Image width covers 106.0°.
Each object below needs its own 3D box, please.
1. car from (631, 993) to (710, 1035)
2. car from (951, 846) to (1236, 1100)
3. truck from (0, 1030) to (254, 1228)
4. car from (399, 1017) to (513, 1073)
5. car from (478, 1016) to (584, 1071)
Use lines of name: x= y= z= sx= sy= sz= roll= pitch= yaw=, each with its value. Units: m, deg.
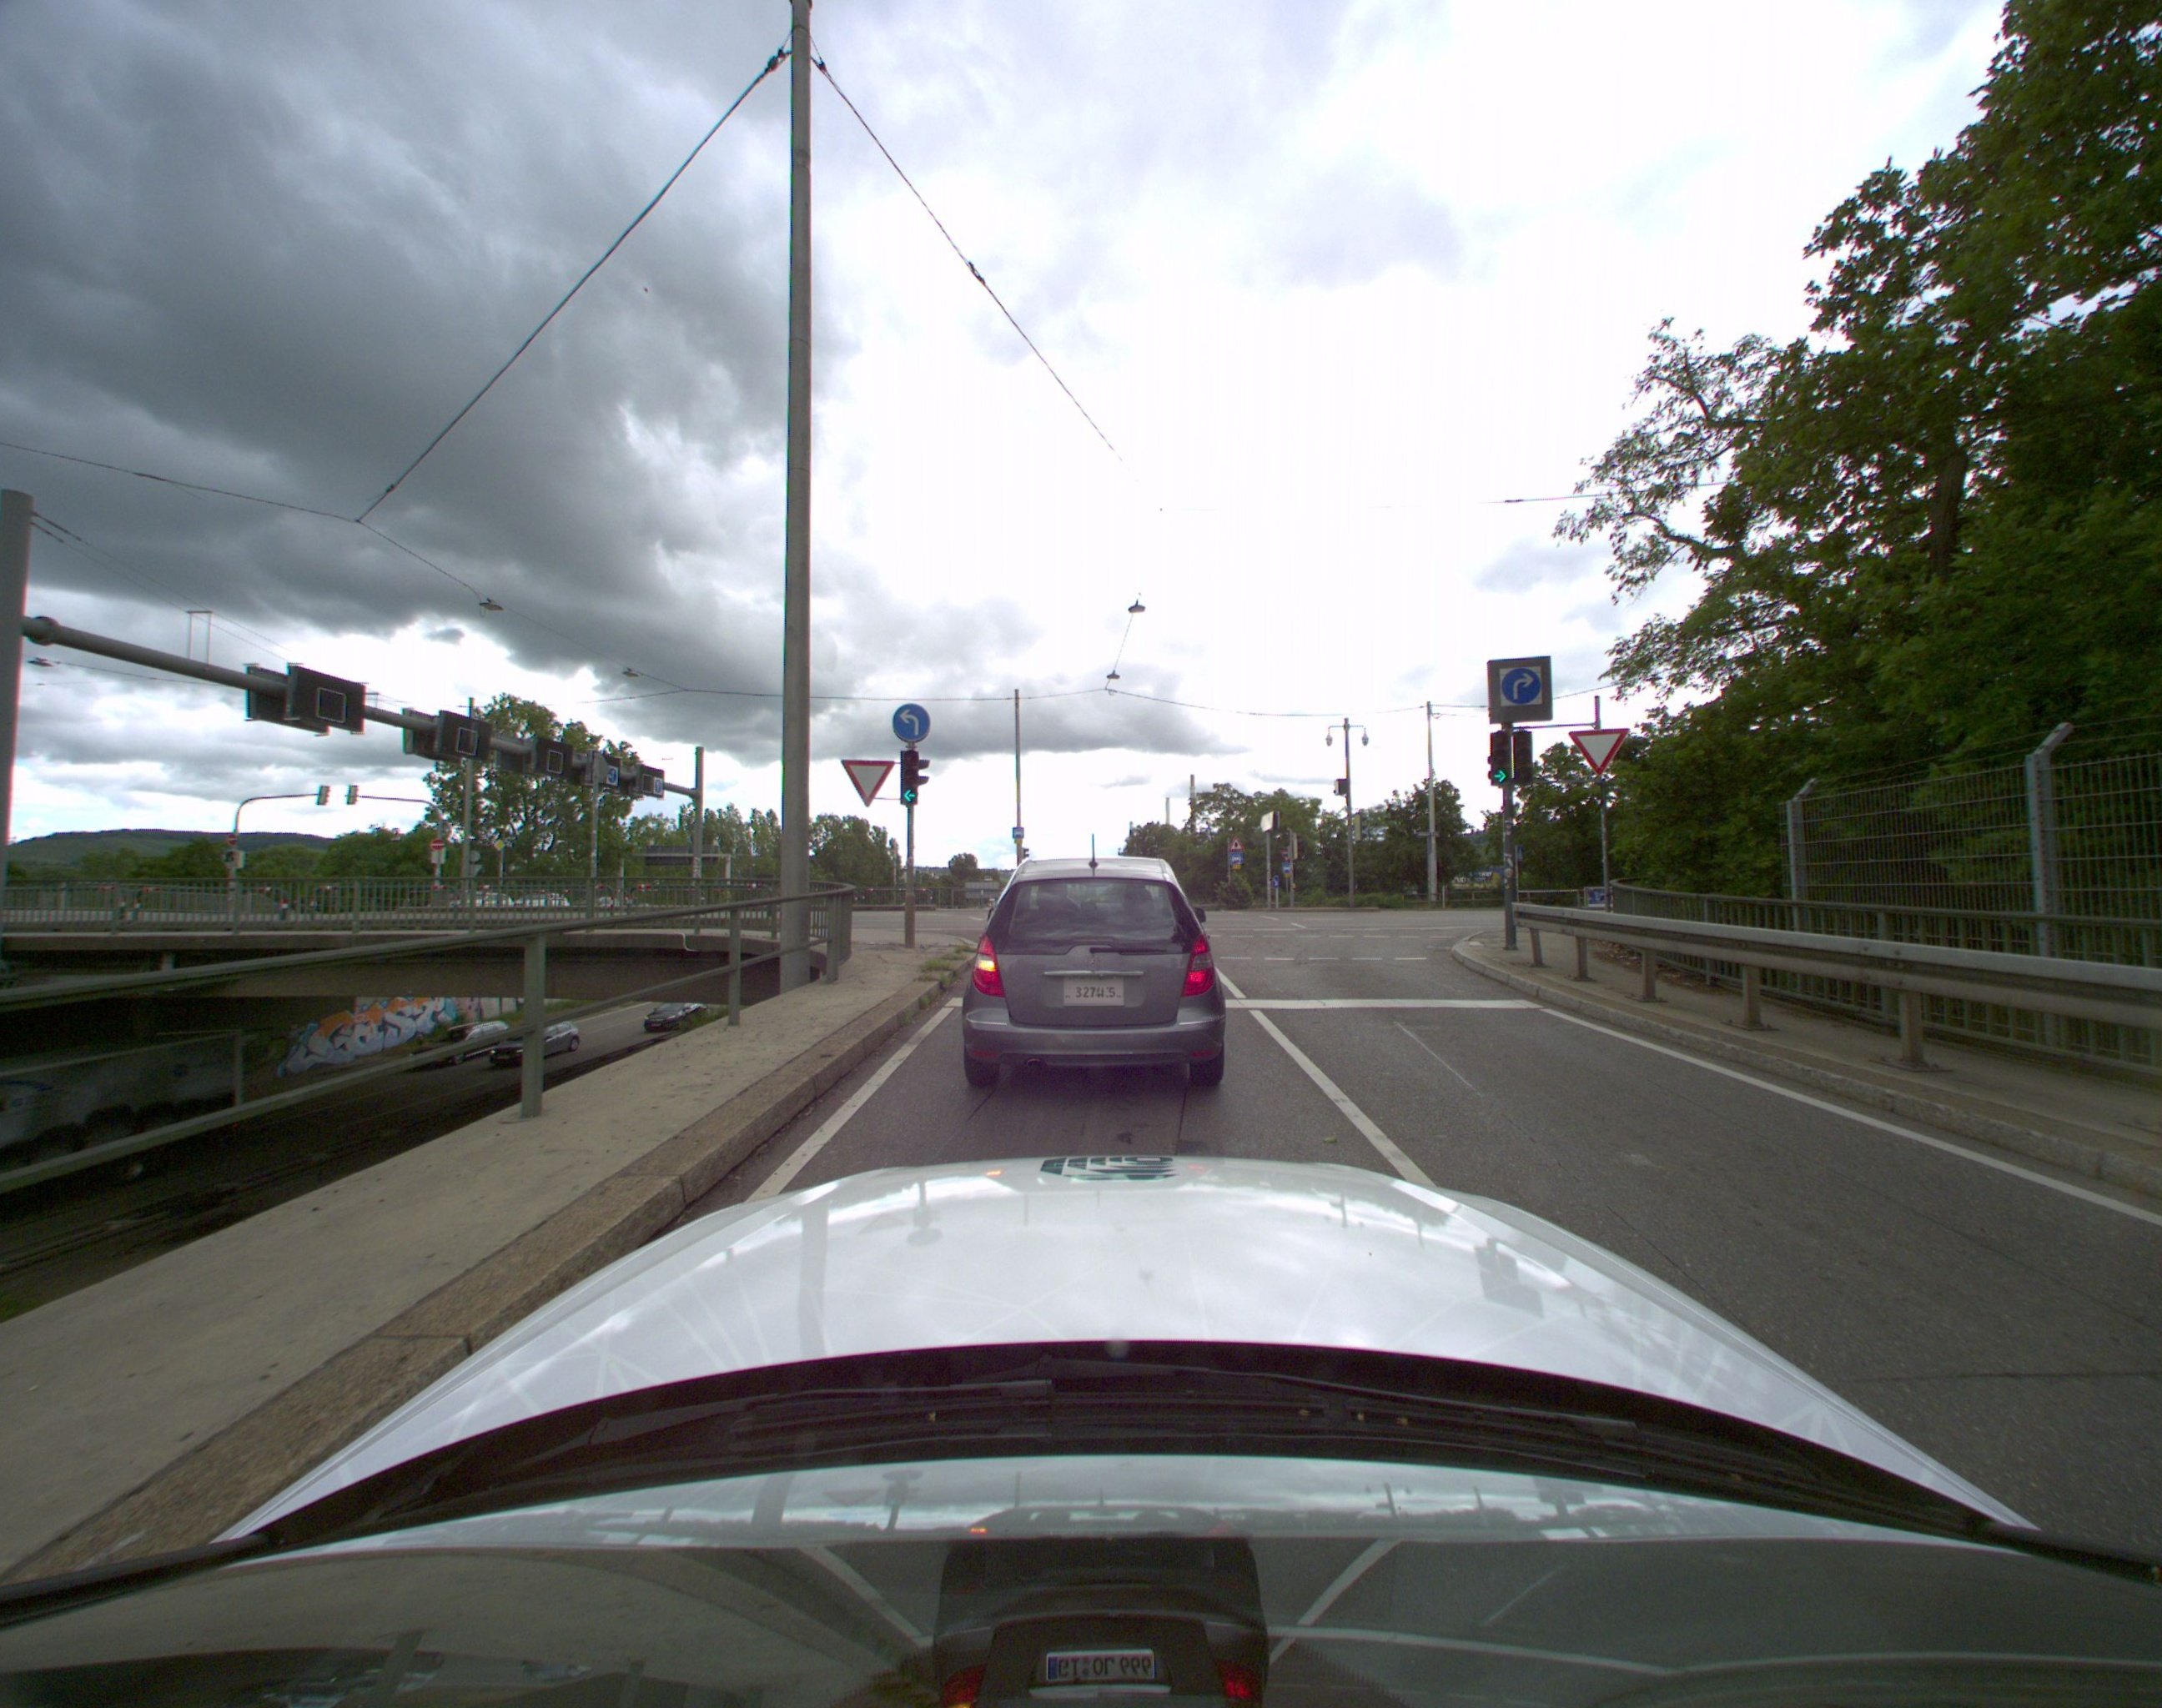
car: x=-22.521 y=8.774 z=44.857 sx=1.832 sy=1.493 sz=4.572 roll=-4 pitch=-3 yaw=2
car: x=0.135 y=0.746 z=6.752 sx=1.733 sy=1.543 sz=3.542 roll=0 pitch=-1 yaw=2
truck: x=-25.279 y=6.697 z=19.530 sx=2.505 sy=3.462 sz=8.127 roll=-2 pitch=-3 yaw=0
car: x=-28.220 y=8.598 z=36.973 sx=1.815 sy=1.611 sz=4.298 roll=-2 pitch=-2 yaw=0
car: x=-24.615 y=8.442 z=36.670 sx=1.815 sy=1.611 sz=4.297 roll=-2 pitch=-3 yaw=0
